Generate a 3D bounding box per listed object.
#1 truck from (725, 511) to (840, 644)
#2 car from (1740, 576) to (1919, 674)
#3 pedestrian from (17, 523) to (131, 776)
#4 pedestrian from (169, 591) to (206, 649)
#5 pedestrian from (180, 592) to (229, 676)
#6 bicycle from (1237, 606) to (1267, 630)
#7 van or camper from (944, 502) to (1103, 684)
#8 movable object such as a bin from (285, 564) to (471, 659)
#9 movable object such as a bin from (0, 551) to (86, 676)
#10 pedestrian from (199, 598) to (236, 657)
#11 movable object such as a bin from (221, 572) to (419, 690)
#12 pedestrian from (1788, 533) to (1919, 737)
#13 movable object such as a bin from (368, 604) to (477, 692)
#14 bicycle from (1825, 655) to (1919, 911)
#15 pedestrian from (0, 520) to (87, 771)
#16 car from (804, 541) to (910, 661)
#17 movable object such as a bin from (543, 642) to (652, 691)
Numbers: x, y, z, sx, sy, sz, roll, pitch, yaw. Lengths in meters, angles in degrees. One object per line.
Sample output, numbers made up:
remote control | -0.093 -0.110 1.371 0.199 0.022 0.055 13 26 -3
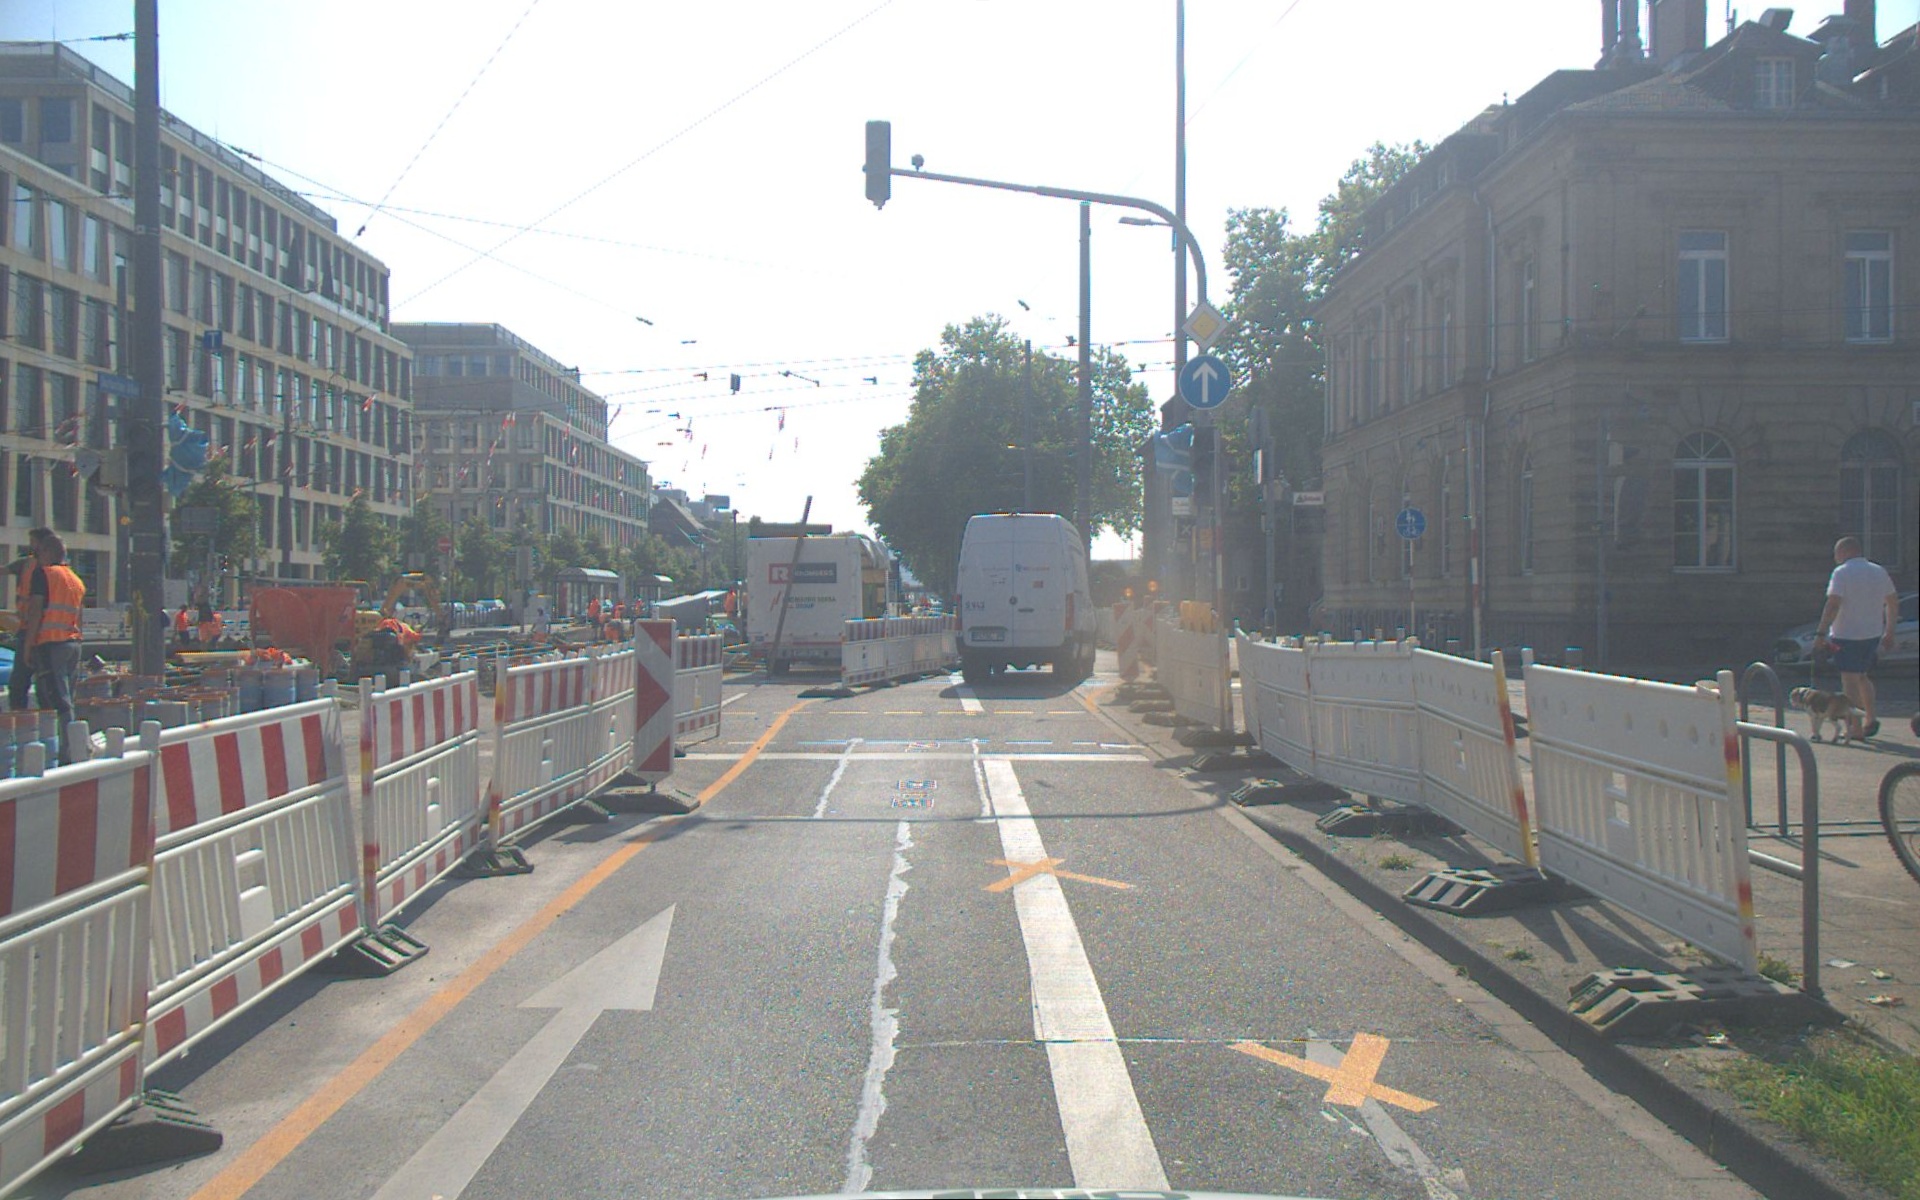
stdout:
truck | -5.992 -0.713 54.624 2.744 3.981 8.390 1 0 -13
car | 15.592 0.389 28.028 3.914 1.563 1.666 -2 0 4
pedestrian | -7.136 0.387 13.320 0.707 1.960 0.676 0 -1 -38
pedestrian | -25.512 0.661 54.639 0.737 1.897 0.810 0 0 18
pedestrian | -17.758 0.800 38.903 0.769 1.946 0.723 -1 -1 8
bicycle | 13.067 0.799 73.965 0.484 1.017 1.808 0 2 -20
van or camper | 1.203 -0.139 28.250 2.070 2.728 5.255 -2 0 8
movable object such as a bin | -20.033 0.453 57.641 3.540 3.010 8.474 1 -1 -1
movable object such as a bin | -23.287 0.329 38.625 4.768 2.884 2.415 0 -1 -39
pedestrian | -24.050 0.874 53.572 0.906 1.897 0.808 0 0 -12
movable object such as a bin | -9.226 0.429 24.095 1.567 1.586 3.286 0 0 1
pedestrian | 7.990 0.300 14.743 0.849 1.767 0.670 0 0 -6
movable object such as a bin | -7.925 0.686 24.482 0.868 1.233 2.212 0 0 1
bicycle | 4.214 0.764 6.730 0.527 1.024 1.571 -1 0 0
pedestrian | -7.819 0.373 13.966 0.690 2.050 0.665 0 -1 -38
car | -2.265 0.055 37.823 2.163 2.467 7.196 0 0 -2
movable object such as a bin | -5.723 1.036 26.092 1.687 0.726 0.716 -1 -1 33
